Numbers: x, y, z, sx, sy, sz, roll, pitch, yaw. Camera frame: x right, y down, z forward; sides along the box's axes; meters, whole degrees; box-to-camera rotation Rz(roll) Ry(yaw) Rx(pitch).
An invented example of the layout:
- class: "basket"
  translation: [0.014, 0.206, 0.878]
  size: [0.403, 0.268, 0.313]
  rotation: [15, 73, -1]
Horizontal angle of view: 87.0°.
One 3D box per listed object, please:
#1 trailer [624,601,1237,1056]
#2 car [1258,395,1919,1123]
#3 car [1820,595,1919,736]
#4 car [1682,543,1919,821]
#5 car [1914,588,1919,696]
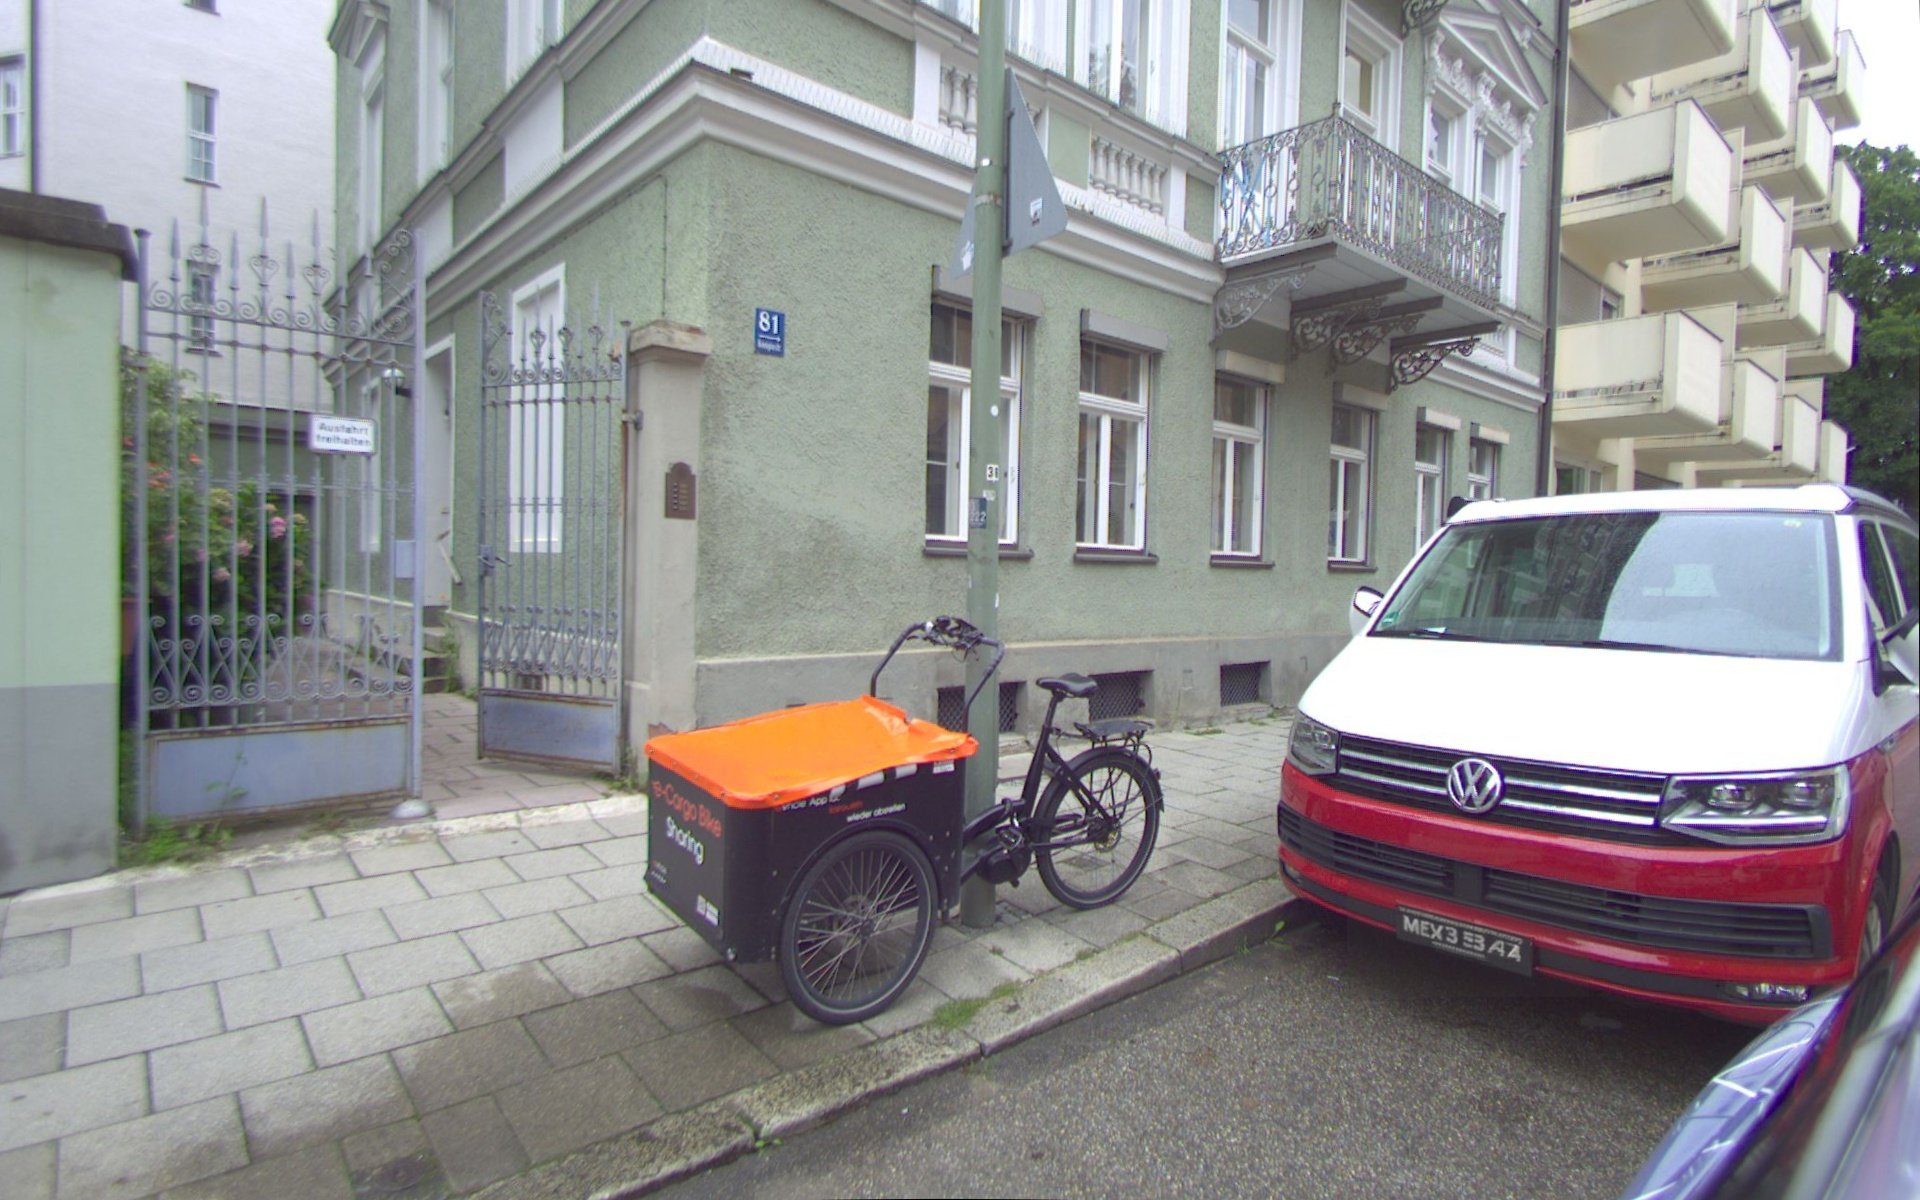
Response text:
- class: "trailer"
  translation: [-0.045, 0.647, 3.844]
  size: [2.124, 1.198, 0.945]
  rotation: [0, 5, -37]
- class: "car"
  translation: [3.510, 0.416, 4.861]
  size: [4.511, 1.920, 1.857]
  rotation: [0, 0, -41]
- class: "car"
  translation: [11.733, 0.702, 12.232]
  size: [3.909, 1.515, 1.549]
  rotation: [0, 0, -42]
- class: "car"
  translation: [7.567, 0.539, 8.248]
  size: [4.475, 1.780, 1.830]
  rotation: [1, 0, -42]
- class: "car"
  translation: [15.999, 0.624, 15.618]
  size: [3.909, 1.591, 1.549]
  rotation: [0, 0, -42]
